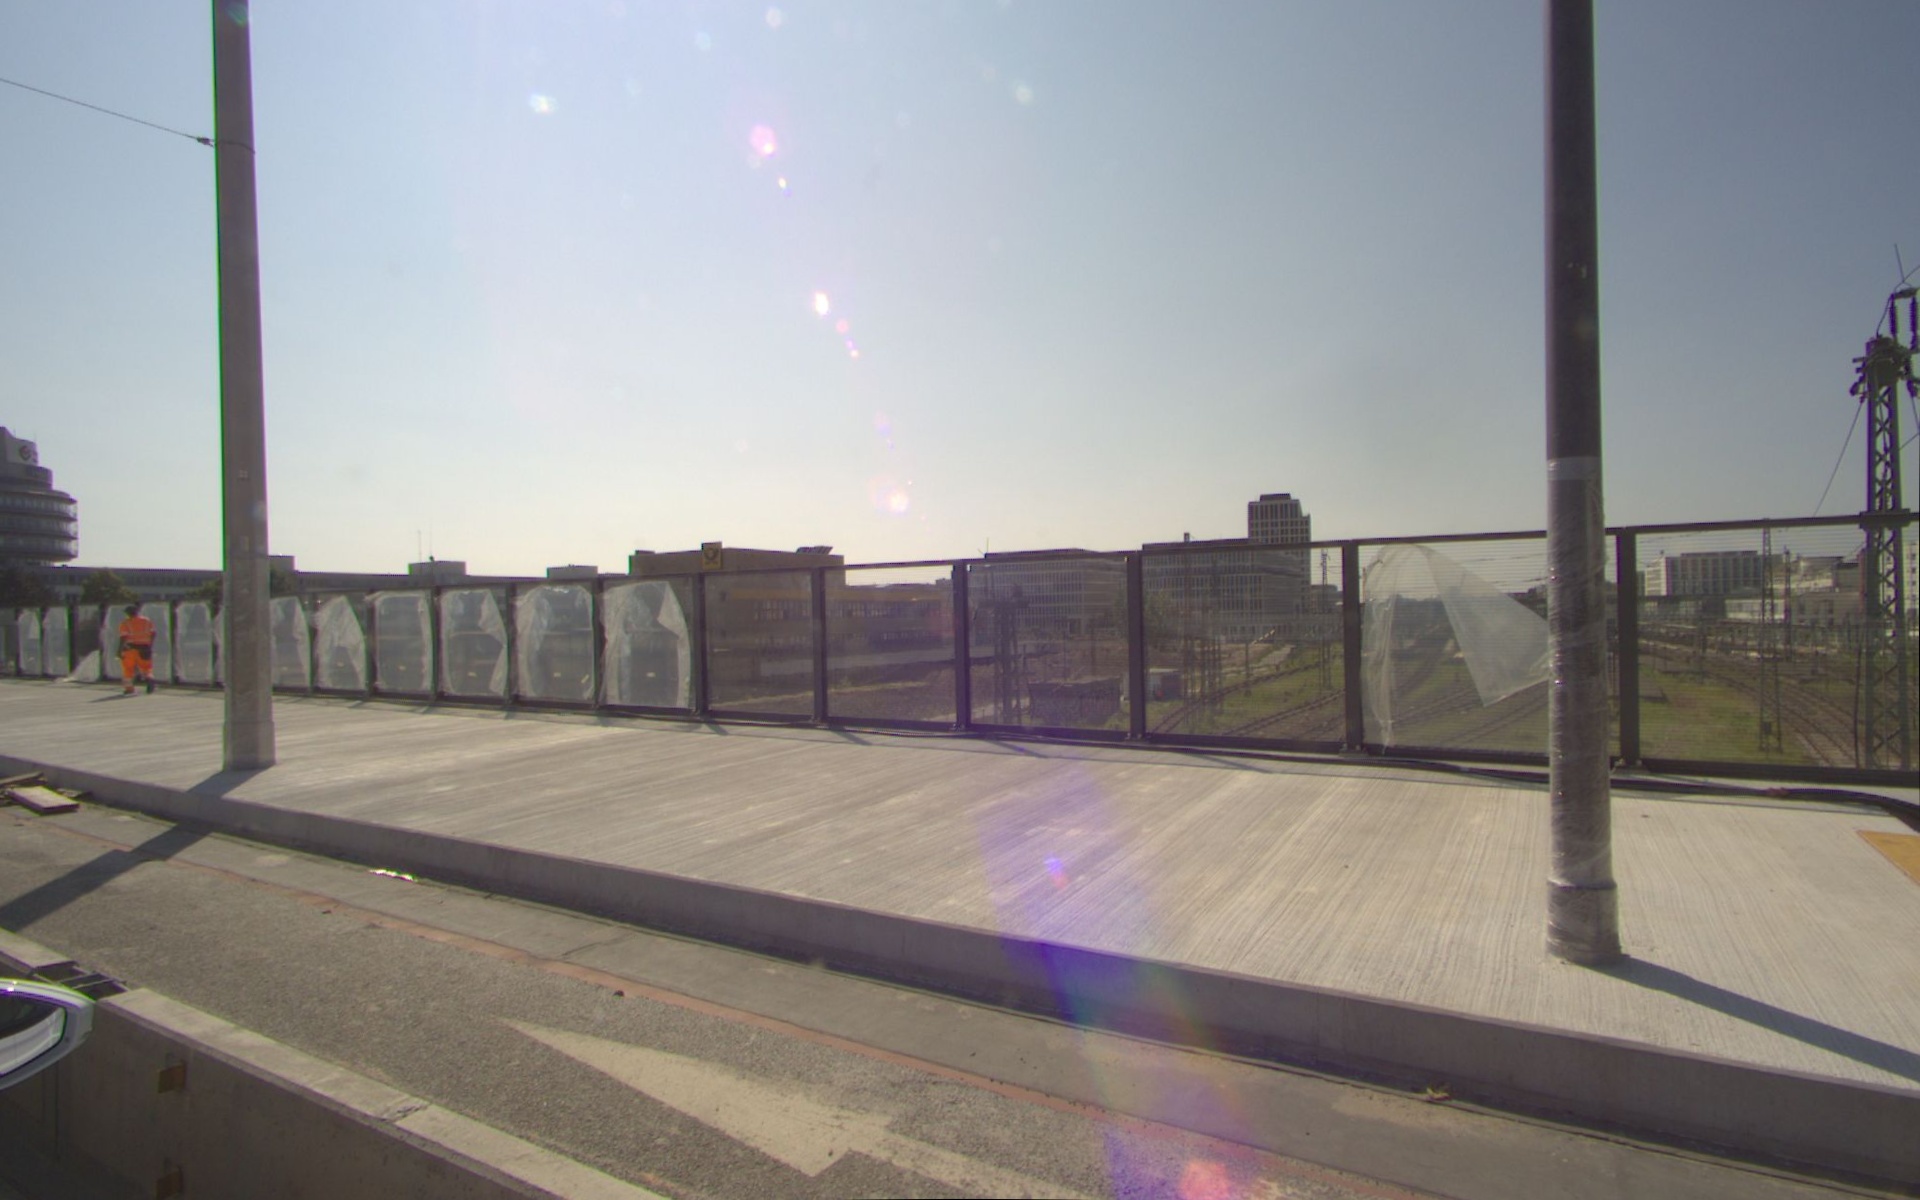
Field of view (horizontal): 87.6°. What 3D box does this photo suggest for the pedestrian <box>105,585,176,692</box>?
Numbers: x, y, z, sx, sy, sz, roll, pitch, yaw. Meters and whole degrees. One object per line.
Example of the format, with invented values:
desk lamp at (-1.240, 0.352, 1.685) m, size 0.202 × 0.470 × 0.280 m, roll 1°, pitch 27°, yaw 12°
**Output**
pedestrian at (-15.754, 0.724, 19.258) m, size 1.002 × 1.991 × 0.729 m, roll -1°, pitch 1°, yaw 33°
